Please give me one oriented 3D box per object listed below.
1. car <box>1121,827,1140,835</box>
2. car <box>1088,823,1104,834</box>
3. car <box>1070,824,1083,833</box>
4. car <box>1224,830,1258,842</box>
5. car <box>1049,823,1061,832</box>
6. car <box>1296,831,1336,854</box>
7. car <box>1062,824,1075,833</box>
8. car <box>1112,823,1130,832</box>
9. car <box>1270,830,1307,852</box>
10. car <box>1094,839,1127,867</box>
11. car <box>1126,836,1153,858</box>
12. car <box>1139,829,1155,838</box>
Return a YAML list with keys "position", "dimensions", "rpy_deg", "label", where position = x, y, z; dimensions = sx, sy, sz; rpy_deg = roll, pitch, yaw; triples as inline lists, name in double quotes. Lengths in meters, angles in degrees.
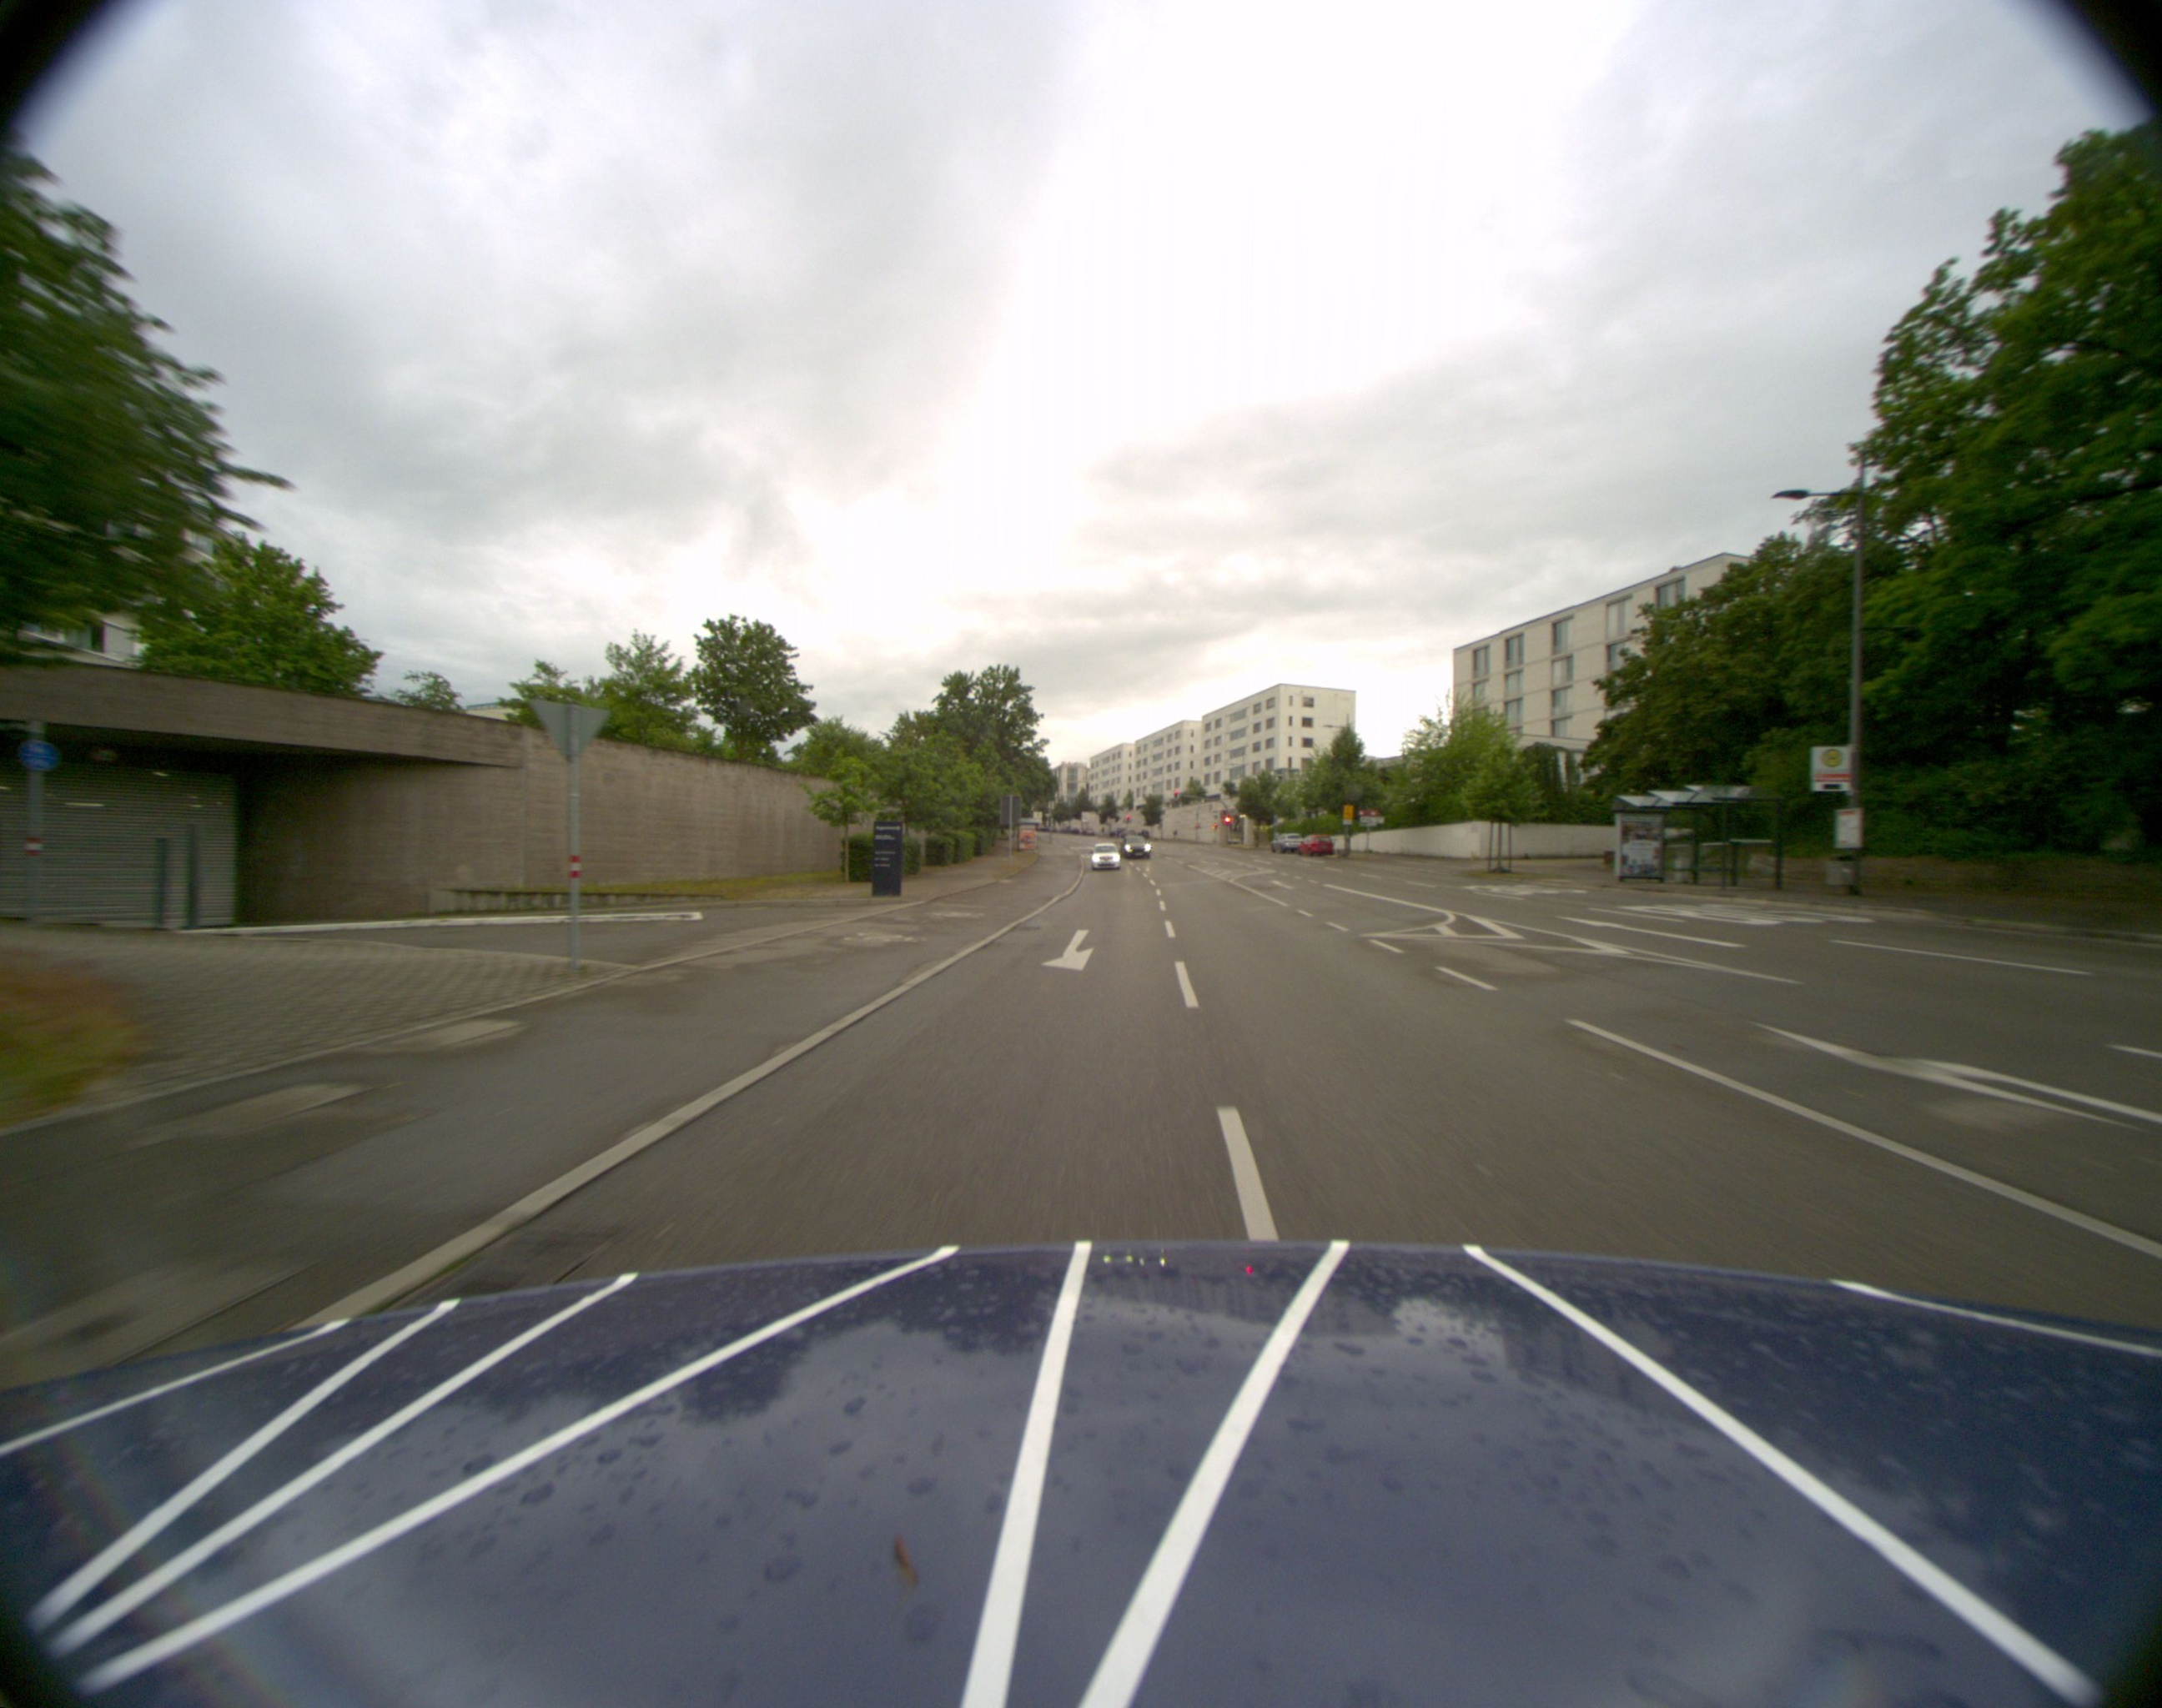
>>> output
- position: [8.694, -4.077, 133.882]
  dimensions: [1.865, 1.470, 3.992]
  rpy_deg: [0, 2, -18]
  label: "car"
- position: [2.932, -4.929, 148.785]
  dimensions: [1.926, 2.002, 4.379]
  rpy_deg: [0, 1, -15]
  label: "car"
- position: [-0.959, -5.603, 167.661]
  dimensions: [1.926, 2.002, 4.379]
  rpy_deg: [0, 1, -15]
  label: "car"
- position: [23.636, -2.625, 112.327]
  dimensions: [4.350, 1.643, 1.996]
  rpy_deg: [1, 3, -18]
  label: "car"
- position: [-6.470, -6.467, 186.516]
  dimensions: [1.926, 2.002, 4.379]
  rpy_deg: [0, 1, -15]
  label: "car"
- position: [17.520, -0.896, 56.832]
  dimensions: [1.669, 1.578, 4.215]
  rpy_deg: [1, 2, -1]
  label: "car"
- position: [-2.810, -5.806, 173.448]
  dimensions: [1.926, 2.002, 4.379]
  rpy_deg: [0, 1, -15]
  label: "car"
- position: [7.279, -4.817, 138.244]
  dimensions: [1.792, 1.623, 3.992]
  rpy_deg: [1, 3, -18]
  label: "car"
- position: [17.396, -1.129, 63.855]
  dimensions: [1.768, 1.644, 4.881]
  rpy_deg: [-1, 2, -1]
  label: "car"
- position: [1.826, -0.037, 46.884]
  dimensions: [1.927, 1.652, 4.001]
  rpy_deg: [0, 0, 2]
  label: "car"
- position: [4.466, -0.543, 58.685]
  dimensions: [1.829, 1.584, 4.000]
  rpy_deg: [-1, 1, 1]
  label: "car"
- position: [11.162, -3.517, 128.260]
  dimensions: [1.683, 1.451, 2.690]
  rpy_deg: [1, 3, -18]
  label: "car"
